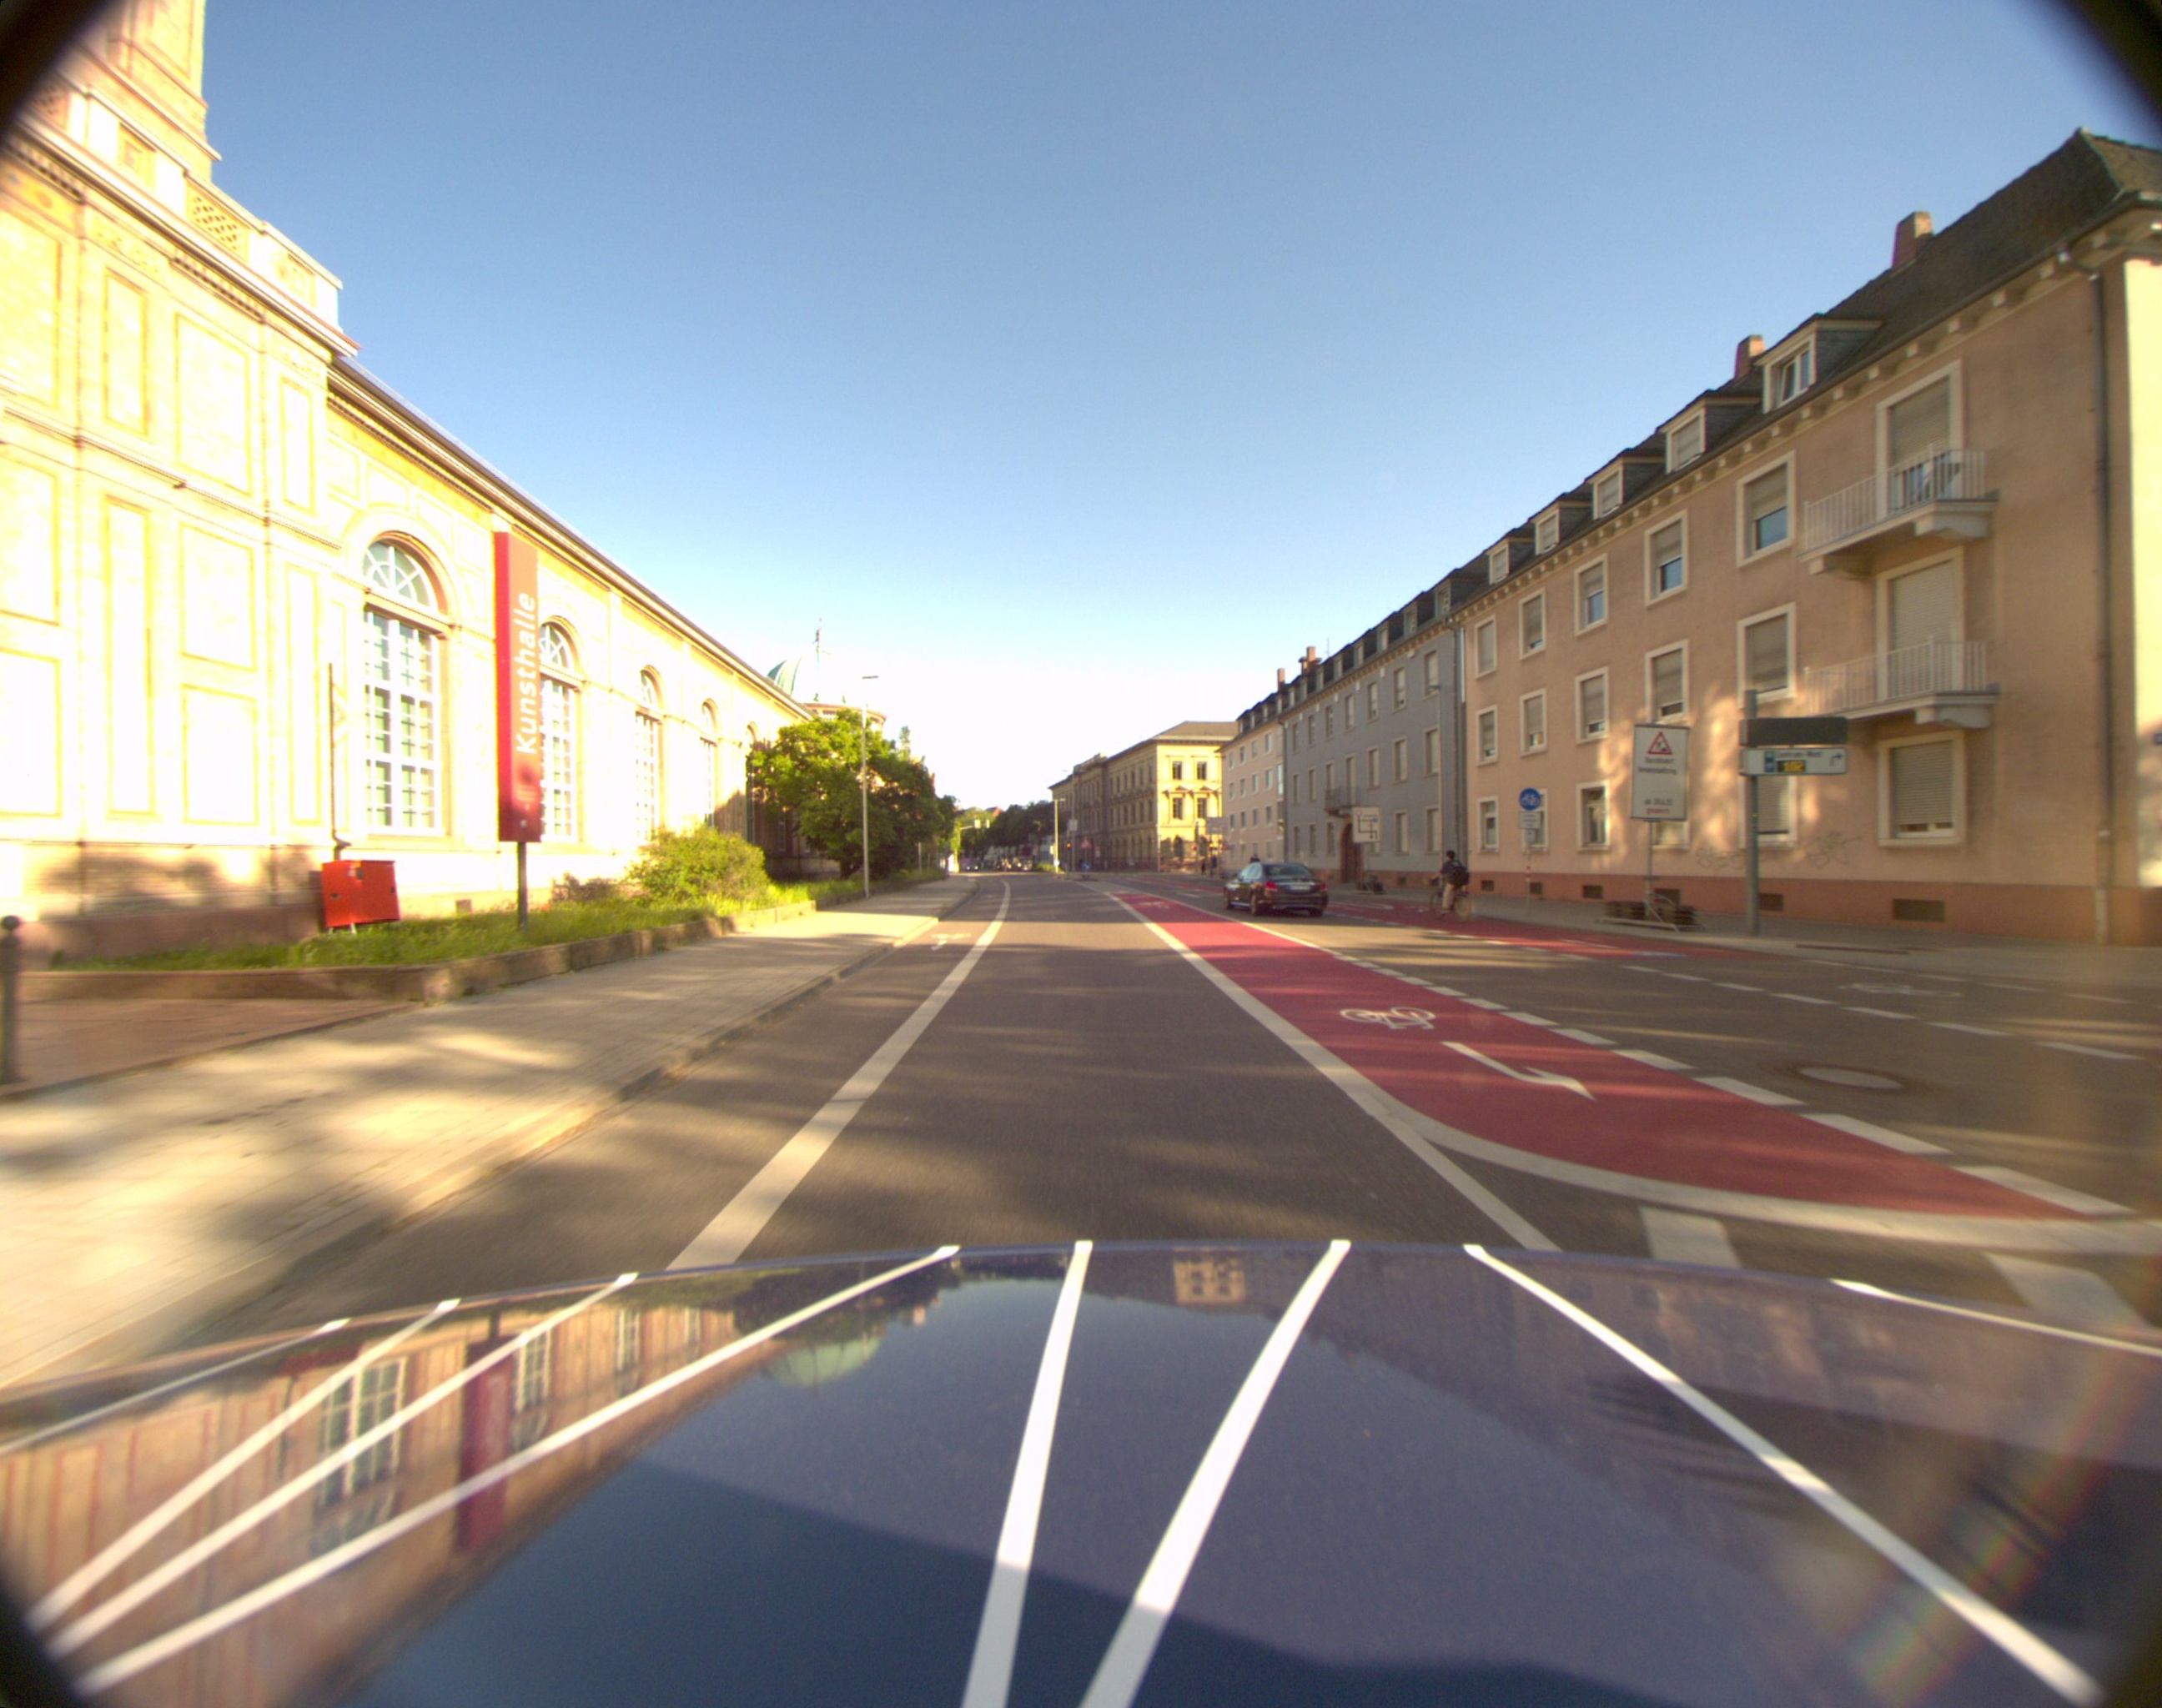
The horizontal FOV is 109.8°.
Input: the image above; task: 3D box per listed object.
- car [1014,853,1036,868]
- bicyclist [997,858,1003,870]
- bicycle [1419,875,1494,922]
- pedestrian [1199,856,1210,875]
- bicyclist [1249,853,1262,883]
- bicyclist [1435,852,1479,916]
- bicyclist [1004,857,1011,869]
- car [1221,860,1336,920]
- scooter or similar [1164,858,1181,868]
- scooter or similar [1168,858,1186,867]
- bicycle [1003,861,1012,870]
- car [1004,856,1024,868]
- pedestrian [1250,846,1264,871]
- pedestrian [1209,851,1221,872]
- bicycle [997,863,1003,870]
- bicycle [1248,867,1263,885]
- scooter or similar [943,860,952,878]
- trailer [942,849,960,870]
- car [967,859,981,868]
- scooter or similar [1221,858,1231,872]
[{"bbox_3d":[-7.371,0.837,99.627,2.076,1.904,5.027,0,0,-14],"label":"car"},{"bbox_3d":[-11.460,1.455,107.378,0.675,1.643,0.886,-2,1,-12],"label":"bicyclist"},{"bbox_3d":[8.918,1.034,18.133,0.653,0.990,2.109,1,0,-3],"label":"bicycle"},{"bbox_3d":[10.464,0.989,64.198,0.633,1.574,0.818,-3,1,-5],"label":"pedestrian"},{"bbox_3d":[10.072,0.814,43.761,0.636,1.700,0.739,2,0,10],"label":"bicyclist"},{"bbox_3d":[8.934,0.696,18.074,0.658,1.476,0.665,2,0,-3],"label":"bicyclist"},{"bbox_3d":[-9.466,1.158,97.673,0.805,1.598,0.824,0,0,-10],"label":"bicyclist"},{"bbox_3d":[5.197,0.882,20.670,1.816,1.411,4.554,0,0,-2],"label":"car"},{"bbox_3d":[11.100,1.062,92.138,2.029,1.181,0.456,-1,0,16],"label":"scooter or similar"},{"bbox_3d":[11.741,1.048,92.869,2.034,1.046,0.456,0,0,-9],"label":"scooter or similar"},{"bbox_3d":[-9.434,1.459,97.474,0.831,1.136,1.968,-2,0,-10],"label":"bicycle"},{"bbox_3d":[-9.680,1.139,109.442,1.999,1.739,4.741,0,0,-15],"label":"car"},{"bbox_3d":[13.291,0.345,57.292,0.633,1.835,1.012,-3,1,-5],"label":"pedestrian"},{"bbox_3d":[12.222,0.680,69.361,0.870,1.852,1.014,-3,0,-2],"label":"pedestrian"},{"bbox_3d":[-11.445,1.767,107.346,0.671,1.066,1.751,-2,0,-12],"label":"bicycle"},{"bbox_3d":[10.068,1.240,43.859,0.647,0.990,2.111,1,0,9],"label":"bicycle"},{"bbox_3d":[-10.216,1.141,58.090,0.557,1.301,1.831,-1,0,-5],"label":"scooter or similar"},{"bbox_3d":[-16.679,0.713,97.349,2.087,2.513,4.487,1,-1,-12],"label":"trailer"},{"bbox_3d":[-16.432,1.510,116.781,1.555,1.288,3.633,2,0,-16],"label":"car"},{"bbox_3d":[12.712,0.986,66.715,0.535,1.178,1.473,-2,0,-3],"label":"scooter or similar"}]
